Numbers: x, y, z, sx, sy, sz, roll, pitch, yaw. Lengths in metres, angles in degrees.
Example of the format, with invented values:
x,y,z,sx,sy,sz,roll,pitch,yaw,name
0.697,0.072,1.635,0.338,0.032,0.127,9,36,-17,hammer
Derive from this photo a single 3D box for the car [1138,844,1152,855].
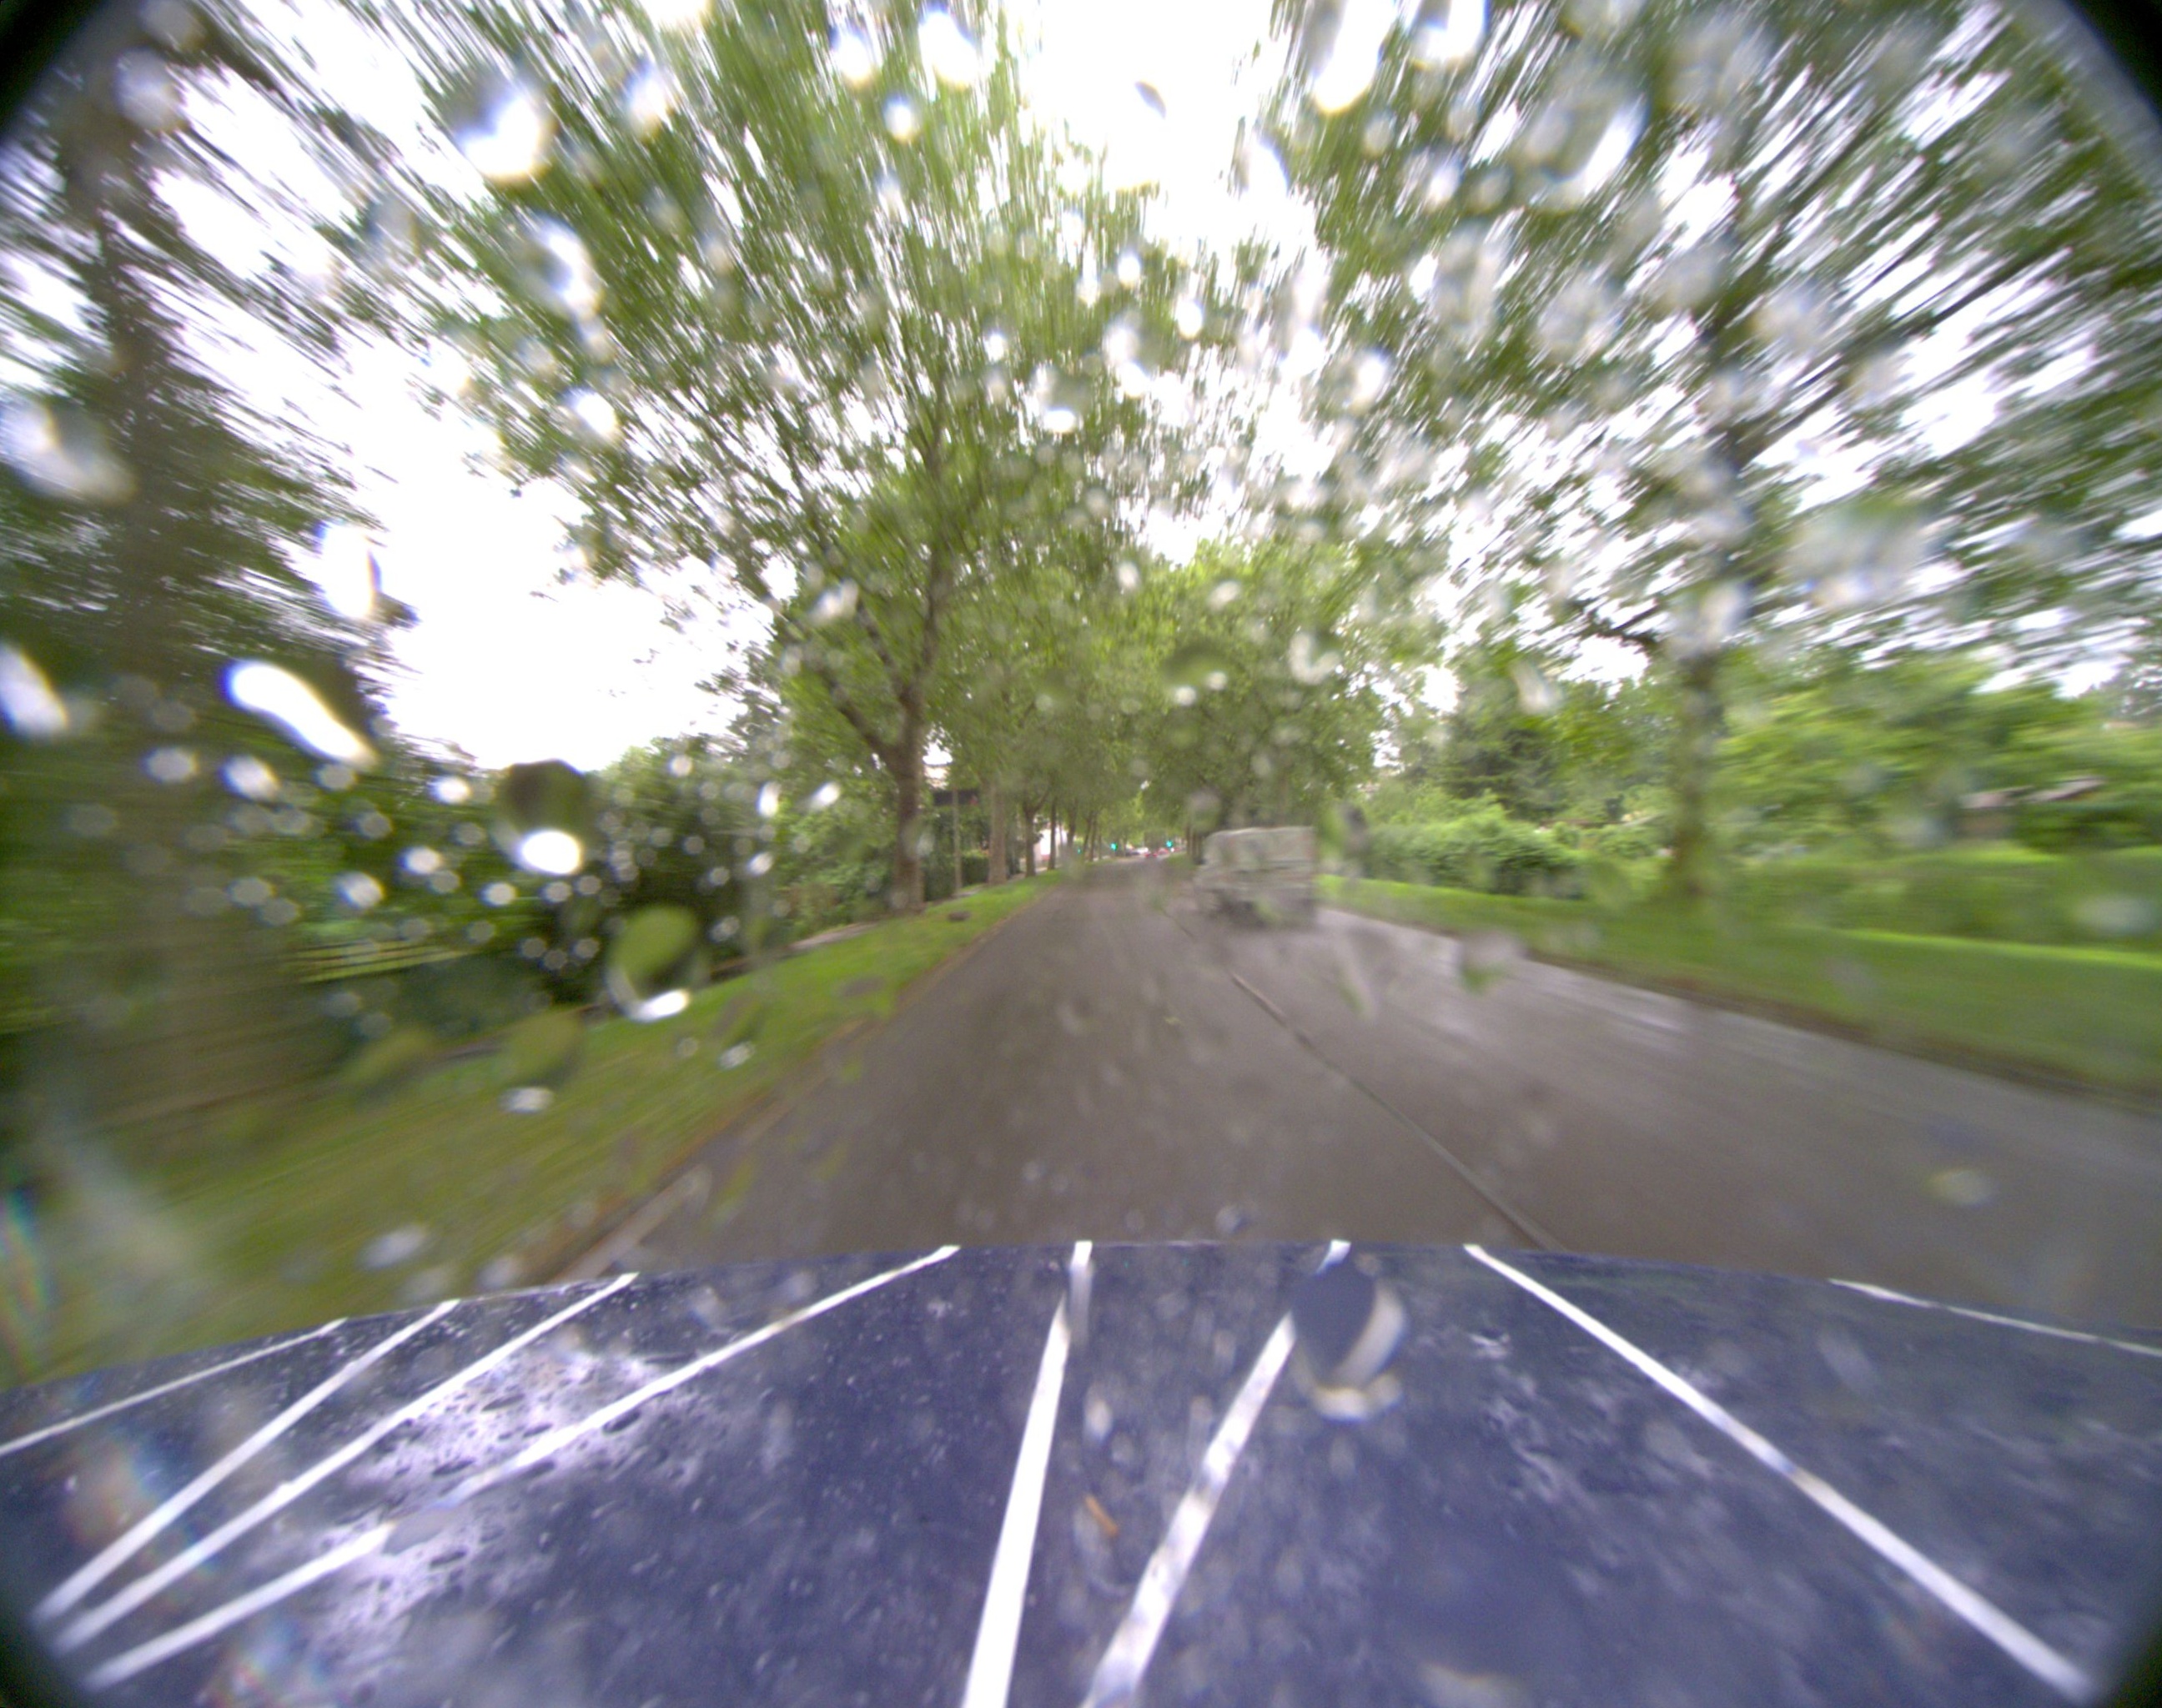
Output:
x,y,z,sx,sy,sz,roll,pitch,yaw,name
9.535,-0.649,113.695,1.850,1.493,4.000,-3,1,2,car

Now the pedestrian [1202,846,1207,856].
x,y,z,sx,sy,sz,roll,pitch,yaw,name
18.277,-0.444,112.235,0.599,1.445,0.857,-3,1,7,pedestrian

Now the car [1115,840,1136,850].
x,y,z,sx,sy,sz,roll,pitch,yaw,name
9.412,-1.918,161.752,4.262,1.846,1.892,-3,1,1,car

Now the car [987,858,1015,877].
x,y,z,sx,sy,sz,roll,pitch,yaw,name
-6.995,1.193,66.748,1.800,1.318,3.999,-7,1,1,car

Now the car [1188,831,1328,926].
x,y,z,sx,sy,sz,roll,pitch,yaw,name
3.642,0.429,16.609,1.867,1.740,5.015,-1,1,0,car
